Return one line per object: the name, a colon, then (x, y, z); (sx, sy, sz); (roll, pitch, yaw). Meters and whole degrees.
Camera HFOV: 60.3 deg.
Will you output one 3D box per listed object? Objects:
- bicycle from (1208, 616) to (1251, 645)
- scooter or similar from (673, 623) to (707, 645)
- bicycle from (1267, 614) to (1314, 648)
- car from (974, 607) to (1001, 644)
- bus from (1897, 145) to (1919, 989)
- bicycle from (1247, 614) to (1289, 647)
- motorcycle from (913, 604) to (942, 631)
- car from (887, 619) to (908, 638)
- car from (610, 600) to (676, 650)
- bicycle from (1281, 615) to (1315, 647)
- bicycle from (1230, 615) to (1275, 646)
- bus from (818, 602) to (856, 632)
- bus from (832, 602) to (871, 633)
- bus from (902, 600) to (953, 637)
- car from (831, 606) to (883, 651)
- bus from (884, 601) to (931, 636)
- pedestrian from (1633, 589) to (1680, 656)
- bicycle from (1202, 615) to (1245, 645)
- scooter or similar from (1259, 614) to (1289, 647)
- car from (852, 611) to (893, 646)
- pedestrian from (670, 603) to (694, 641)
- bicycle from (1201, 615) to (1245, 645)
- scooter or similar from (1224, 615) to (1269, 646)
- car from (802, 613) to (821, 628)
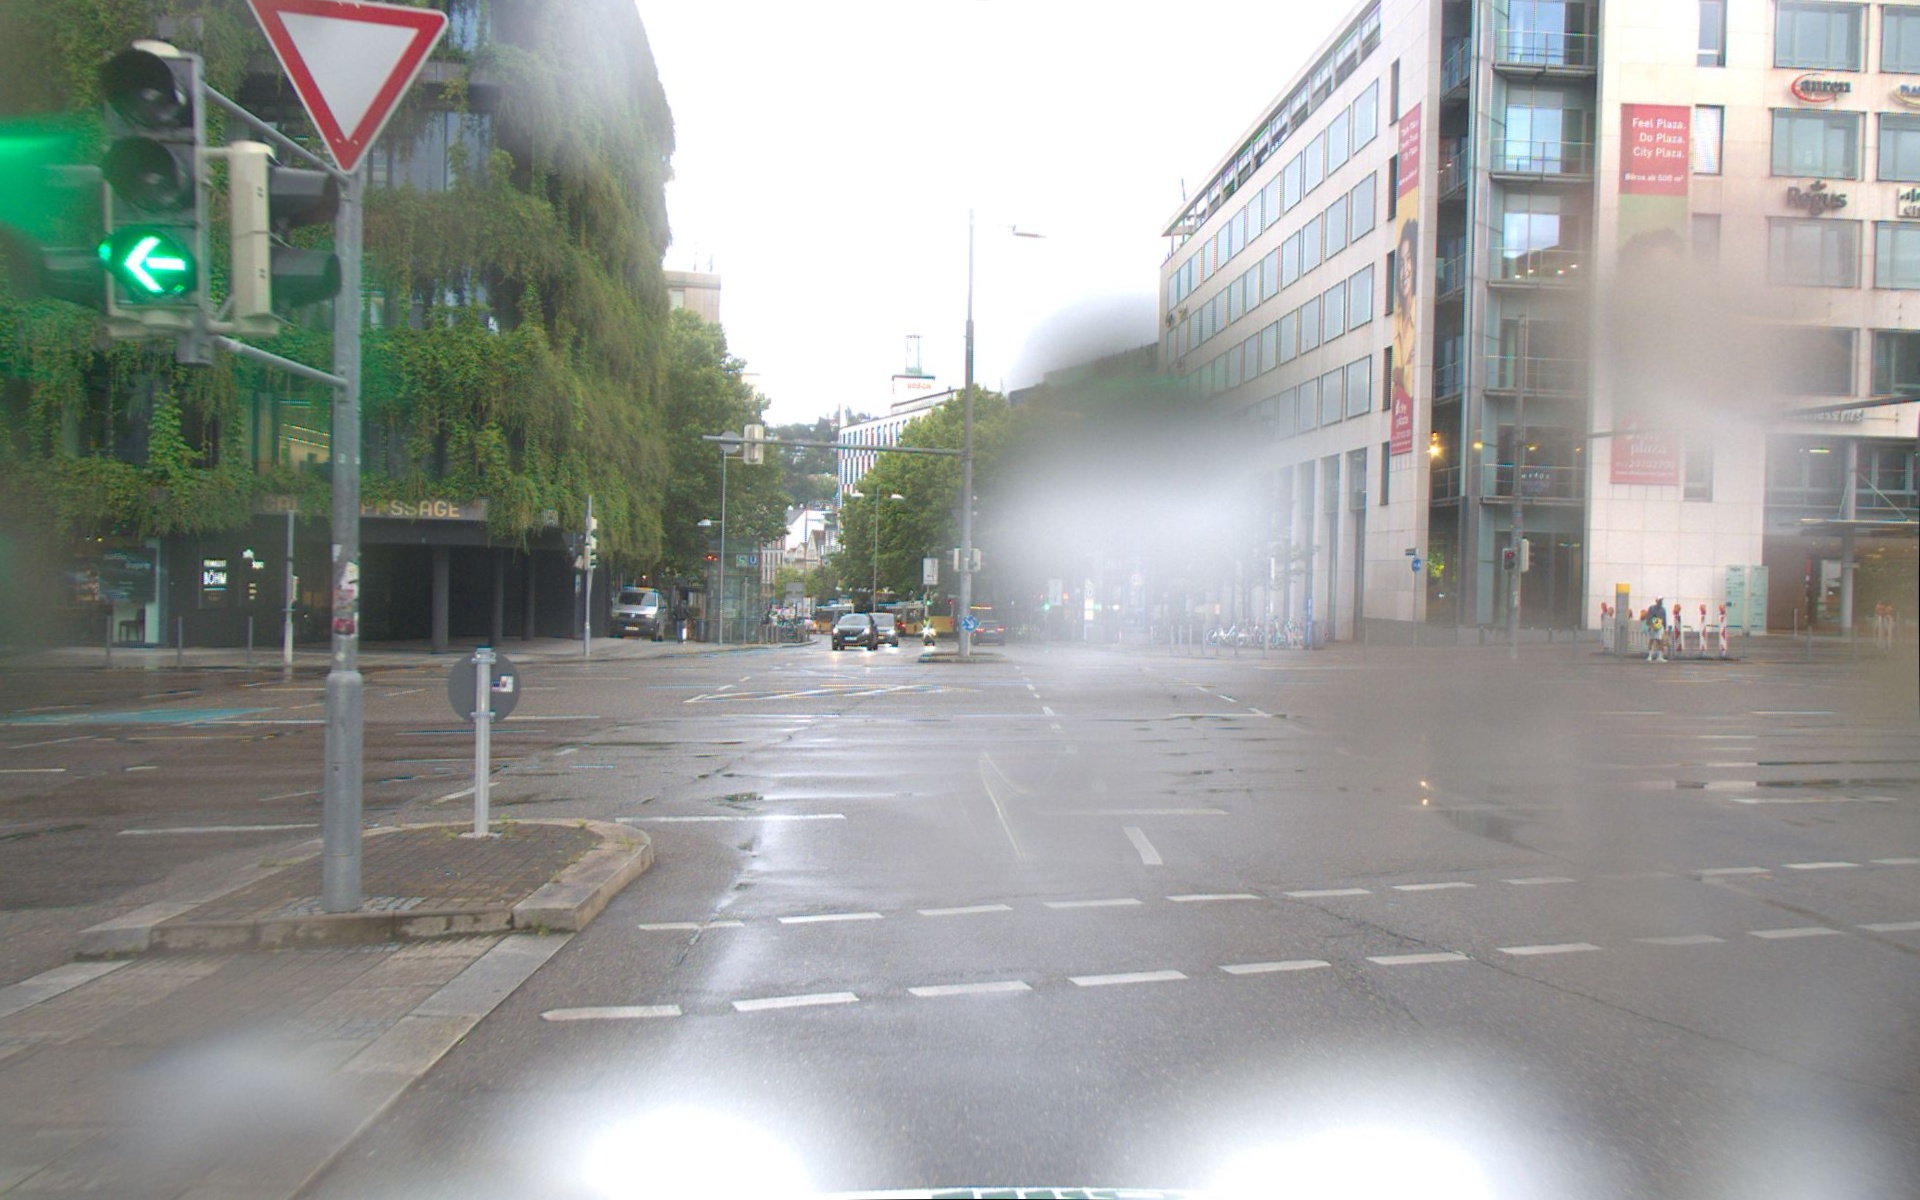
bicycle: (11.534, 1.290, 70.694); (1.741, 1.215, 0.586); (1, -1, 1)
scooter or similar: (-12.816, 1.615, 78.556); (0.612, 1.022, 1.653); (0, -1, 37)
bicycle: (12.227, 1.143, 61.224); (1.590, 1.215, 0.586); (0, -1, 25)
car: (1.576, 1.474, 96.123); (1.512, 2.049, 4.668); (1, -1, 0)
bus: (5.463, -0.205, 2.201); (2.824, 3.511, 9.754); (1, -1, -1)
bicycle: (11.691, 1.162, 62.768); (0.578, 1.215, 1.766); (1, -1, -28)
motorcycle: (-1.910, 1.044, 97.174); (1.521, 1.541, 4.381); (1, -1, -3)
car: (-5.347, 2.447, 142.043); (1.745, 1.534, 3.999); (1, -1, -1)
car: (-12.284, 0.972, 64.361); (1.832, 1.871, 3.999); (1, -1, -1)
bicycle: (12.967, 1.187, 63.343); (0.575, 1.215, 1.776); (0, -1, 37)
bicycle: (12.002, 1.251, 67.981); (1.741, 1.215, 0.586); (1, -1, 1)
bus: (-13.161, 1.792, 176.344); (2.585, 3.048, 7.416); (0, 0, -16)
bus: (-11.169, 1.767, 169.276); (2.585, 3.048, 7.296); (0, 0, -16)
bus: (-2.814, 1.579, 142.108); (2.585, 3.048, 7.416); (0, 0, -16)
car: (-4.396, 1.218, 70.572); (2.121, 1.796, 5.108); (1, -1, -4)
bus: (-4.806, 1.620, 149.225); (2.585, 3.048, 7.416); (0, 0, -16)
pedestrian: (19.500, 0.634, 46.307); (0.942, 1.848, 0.836); (1, -1, -1)
bicycle: (11.117, 1.270, 69.771); (1.741, 1.215, 0.586); (1, -1, 1)
scooter or similar: (11.490, 1.122, 60.529); (0.946, 1.215, 0.453); (0, -2, 40)
car: (-4.716, 1.503, 88.703); (2.121, 1.796, 5.108); (1, -1, -4)
pedestrian: (-12.188, 0.968, 72.543); (0.915, 1.673, 0.774); (1, -1, -1)
bicycle: (10.973, 1.258, 69.135); (1.741, 1.215, 0.586); (1, -1, 1)
scooter or similar: (11.657, 1.237, 67.354); (1.741, 1.215, 0.586); (1, -1, 1)
car: (-16.022, 2.228, 178.666); (1.745, 1.534, 3.999); (1, -1, -1)
